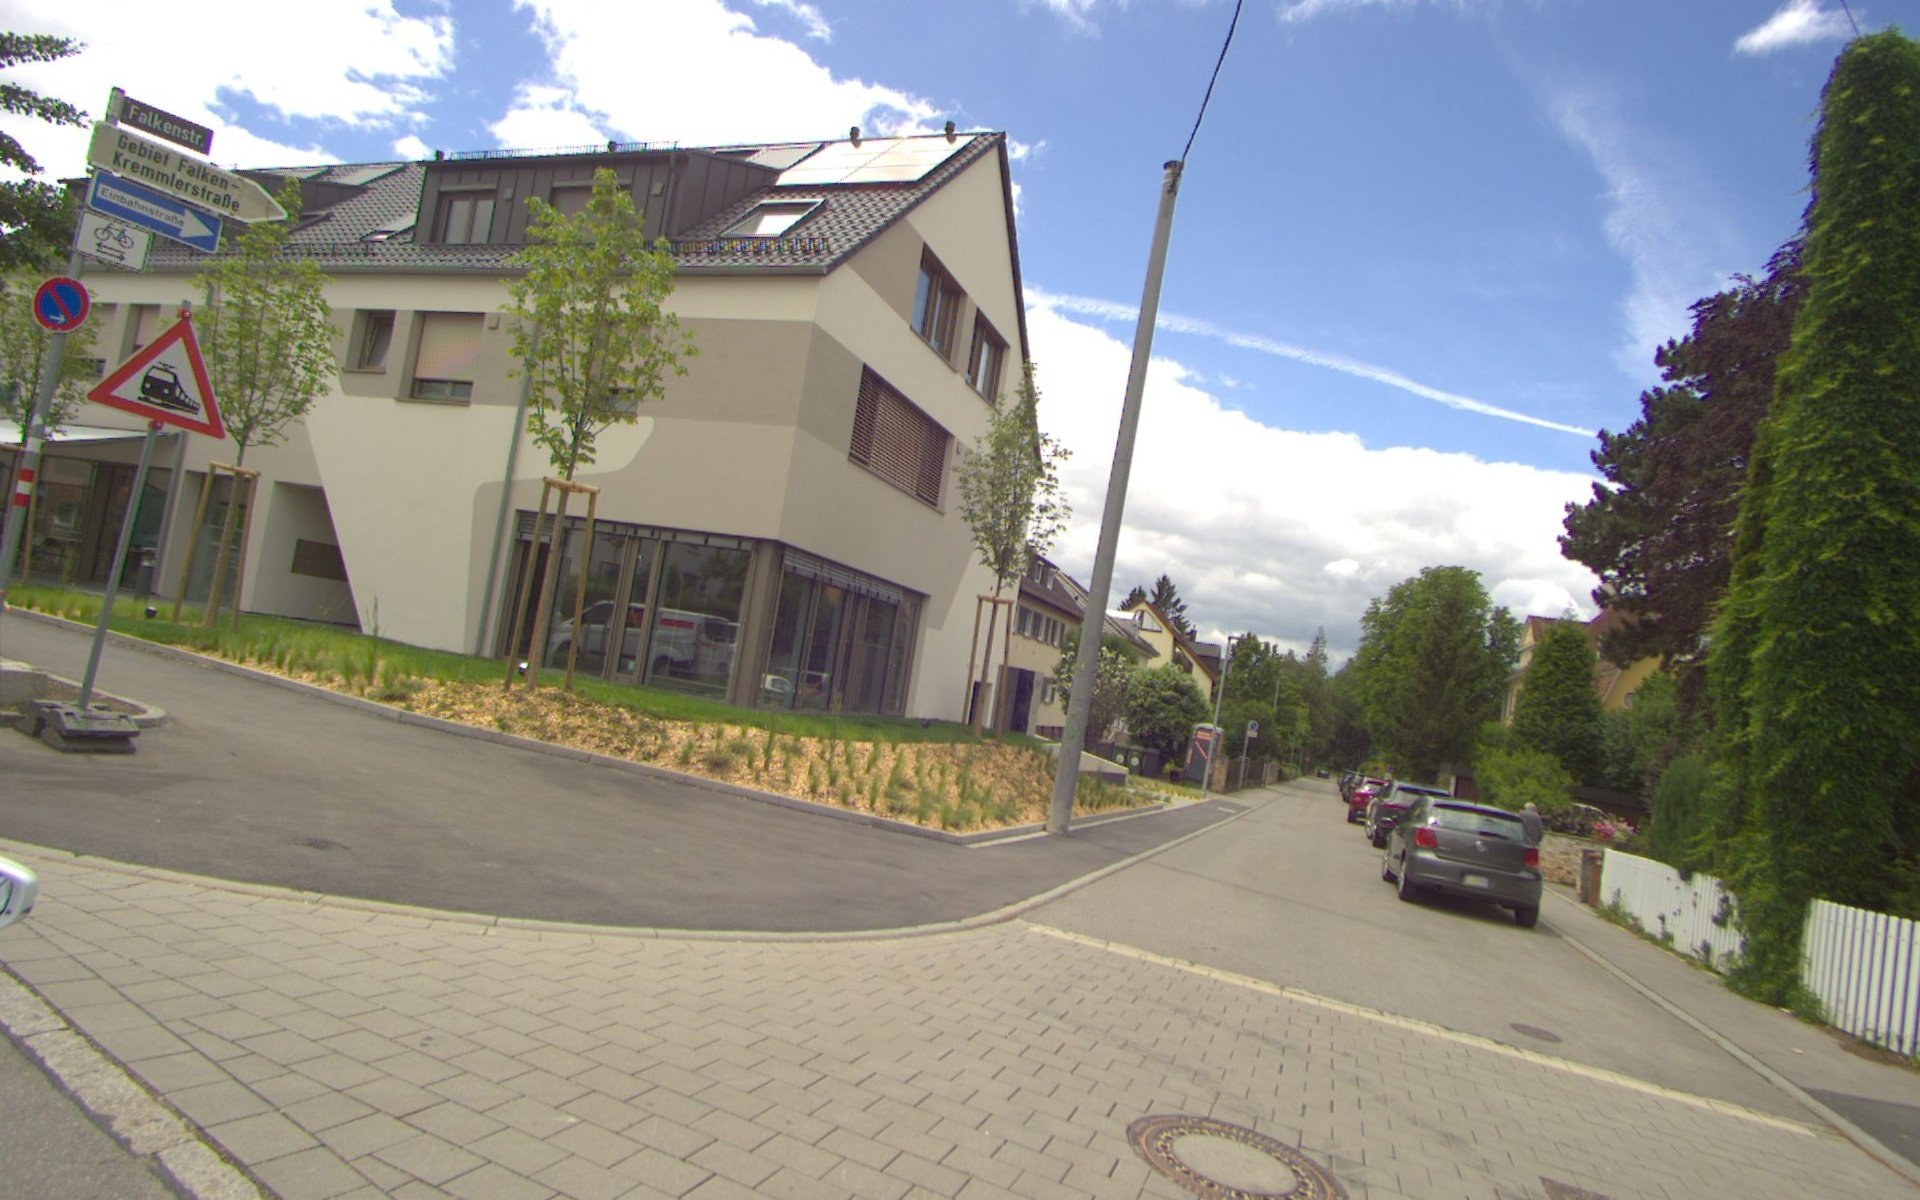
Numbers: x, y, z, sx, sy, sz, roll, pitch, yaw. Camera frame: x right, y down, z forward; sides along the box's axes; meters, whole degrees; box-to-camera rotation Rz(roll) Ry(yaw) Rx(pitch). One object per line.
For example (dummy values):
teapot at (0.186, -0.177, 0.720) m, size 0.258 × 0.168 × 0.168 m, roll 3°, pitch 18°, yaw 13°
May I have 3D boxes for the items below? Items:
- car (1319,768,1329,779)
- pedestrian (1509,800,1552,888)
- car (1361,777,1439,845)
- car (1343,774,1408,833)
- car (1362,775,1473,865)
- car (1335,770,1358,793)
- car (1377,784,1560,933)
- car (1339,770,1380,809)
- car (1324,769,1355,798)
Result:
car at (61.693, 29.389, 170.392) m, size 1.368 × 1.524 × 3.005 m, roll 8°, pitch -6°, yaw 19°
pedestrian at (11.088, 4.726, 19.535) m, size 0.567 × 1.562 × 0.545 m, roll 6°, pitch -6°, yaw 32°
car at (12.901, 6.159, 29.637) m, size 1.631 × 1.558 × 3.356 m, roll 8°, pitch -6°, yaw 19°
car at (14.209, 6.933, 34.580) m, size 1.631 × 1.558 × 3.907 m, roll 8°, pitch -6°, yaw 19°
car at (11.090, 5.284, 24.668) m, size 1.852 × 1.622 × 4.359 m, roll 8°, pitch -6°, yaw 19°
car at (32.978, 15.510, 85.858) m, size 1.525 × 1.648 × 3.245 m, roll 8°, pitch -6°, yaw 19°
car at (7.071, 3.528, 14.330) m, size 1.682 × 1.471 × 3.545 m, roll 8°, pitch -6°, yaw 19°
car at (21.265, 10.052, 53.668) m, size 1.631 × 1.724 × 3.470 m, roll 8°, pitch -6°, yaw 19°
car at (25.886, 12.531, 68.772) m, size 1.631 × 1.648 × 3.779 m, roll 8°, pitch -6°, yaw 19°
